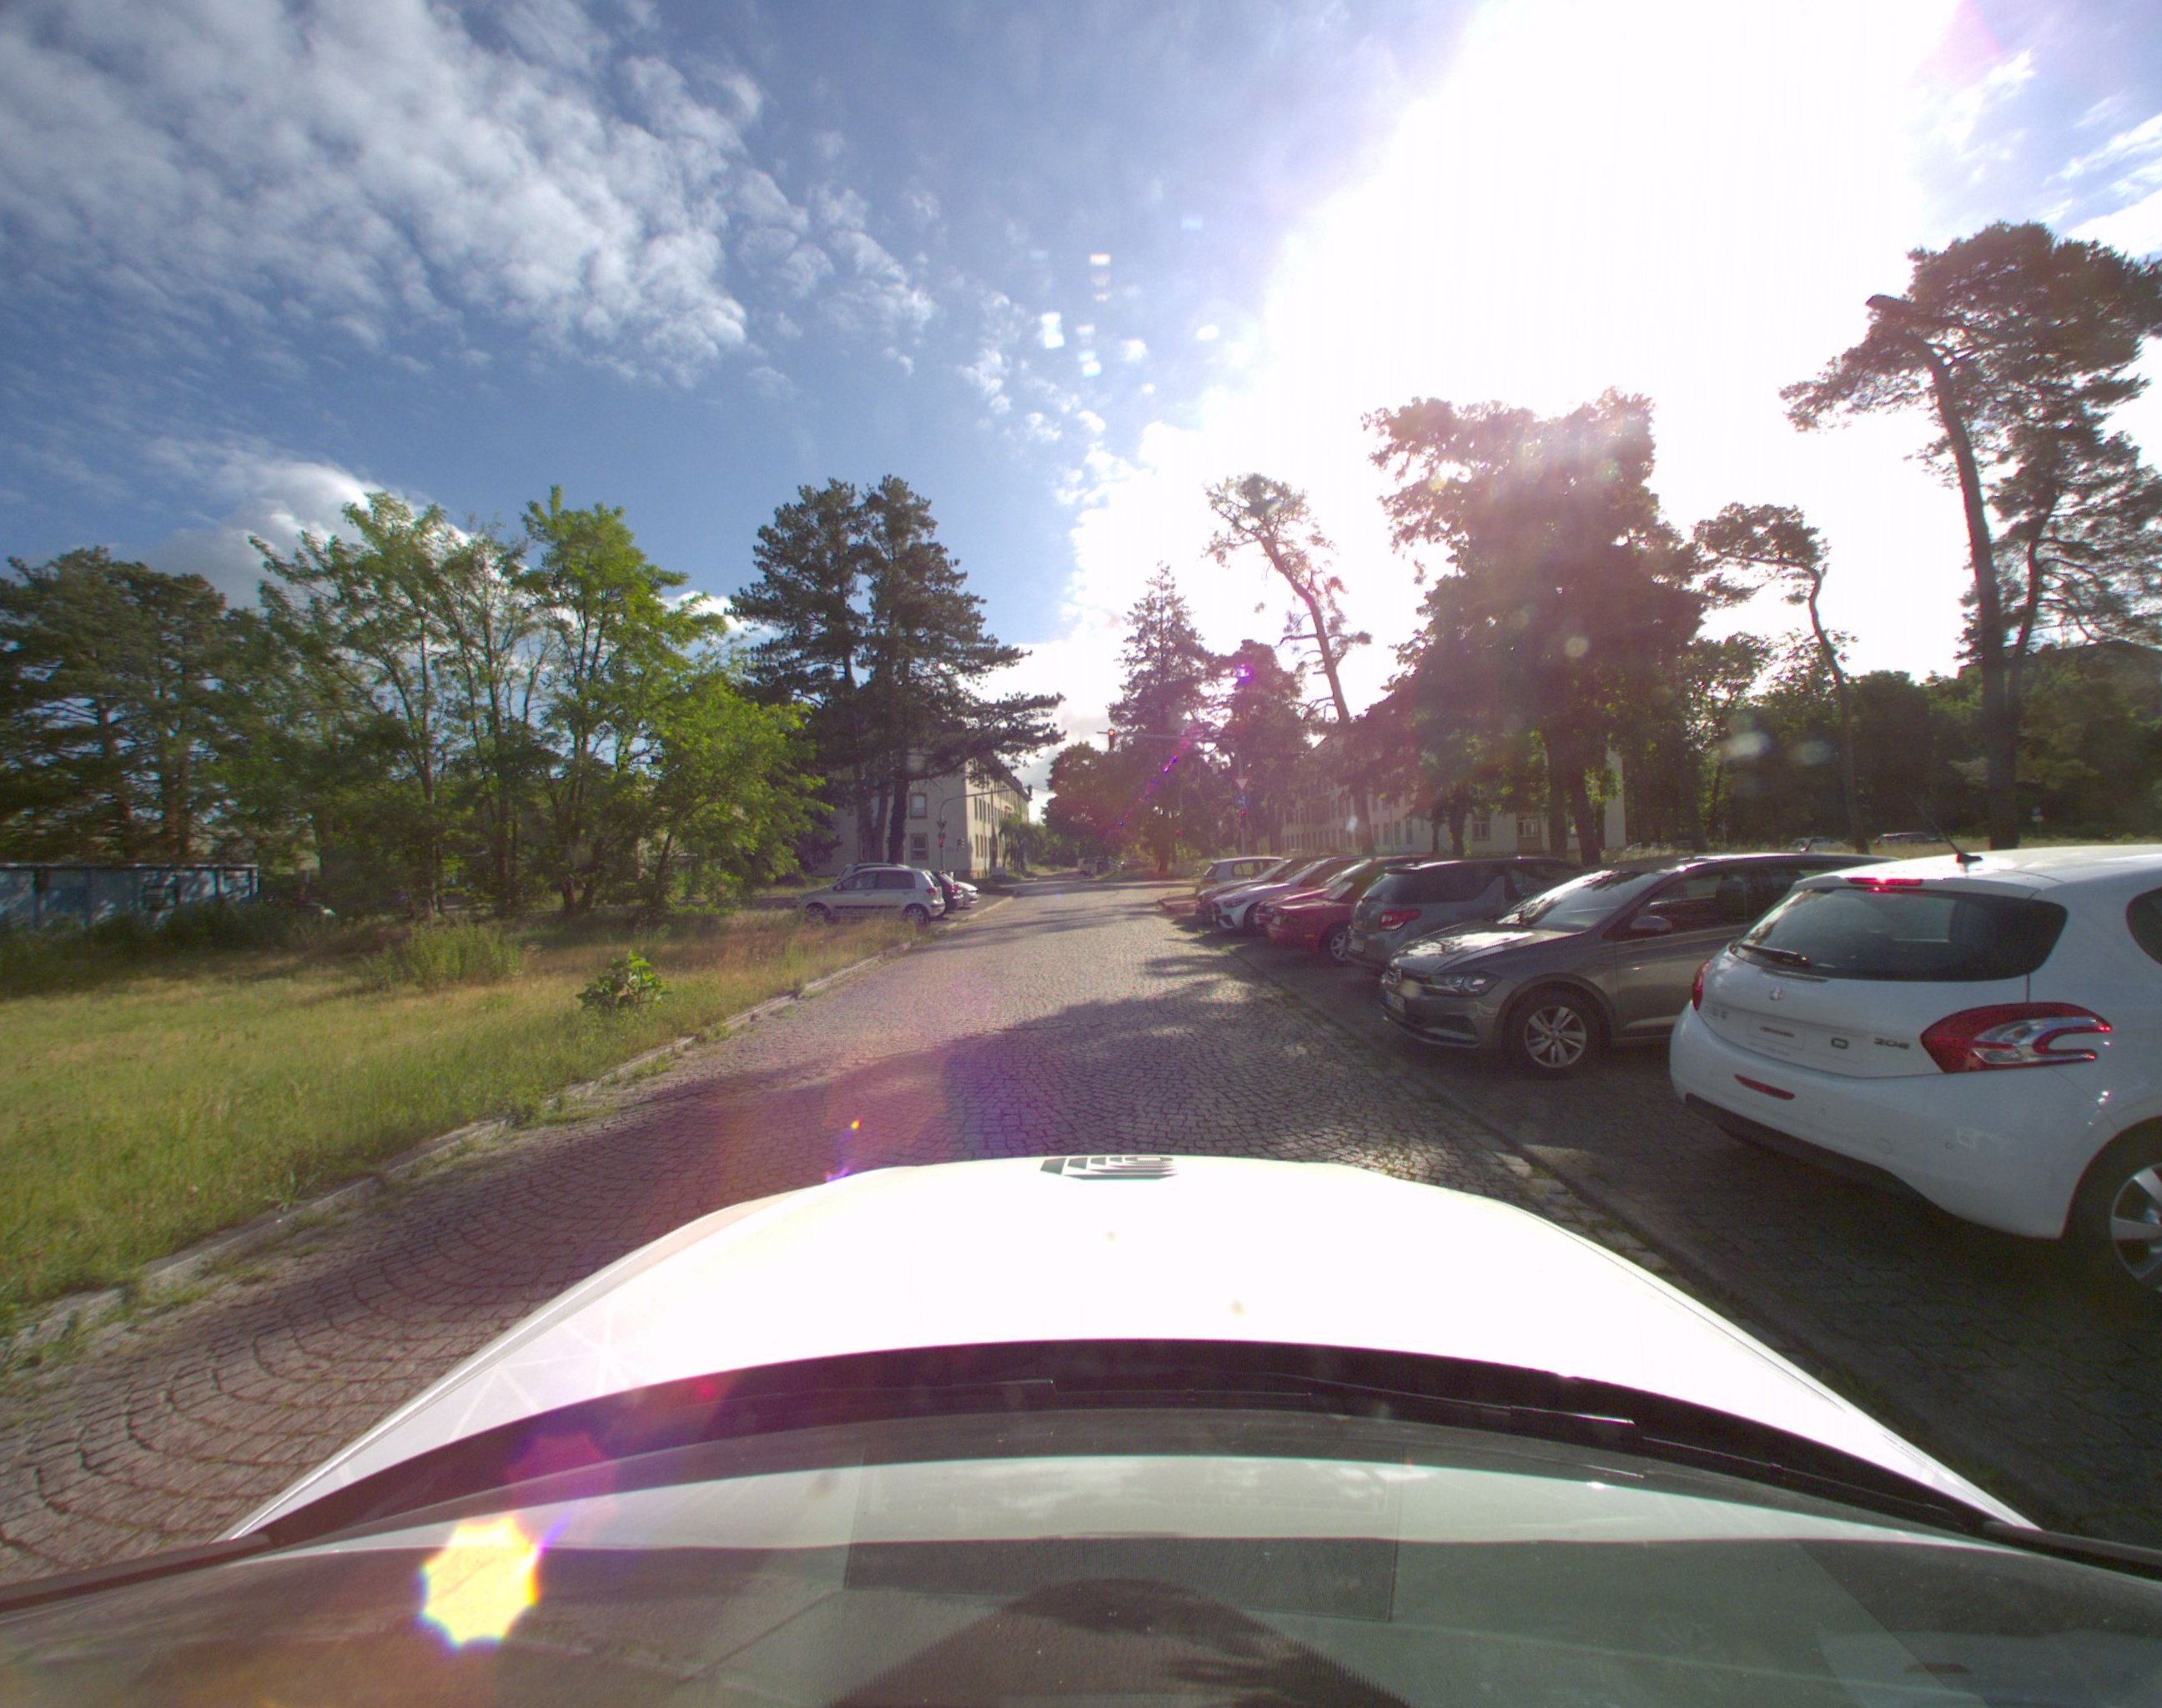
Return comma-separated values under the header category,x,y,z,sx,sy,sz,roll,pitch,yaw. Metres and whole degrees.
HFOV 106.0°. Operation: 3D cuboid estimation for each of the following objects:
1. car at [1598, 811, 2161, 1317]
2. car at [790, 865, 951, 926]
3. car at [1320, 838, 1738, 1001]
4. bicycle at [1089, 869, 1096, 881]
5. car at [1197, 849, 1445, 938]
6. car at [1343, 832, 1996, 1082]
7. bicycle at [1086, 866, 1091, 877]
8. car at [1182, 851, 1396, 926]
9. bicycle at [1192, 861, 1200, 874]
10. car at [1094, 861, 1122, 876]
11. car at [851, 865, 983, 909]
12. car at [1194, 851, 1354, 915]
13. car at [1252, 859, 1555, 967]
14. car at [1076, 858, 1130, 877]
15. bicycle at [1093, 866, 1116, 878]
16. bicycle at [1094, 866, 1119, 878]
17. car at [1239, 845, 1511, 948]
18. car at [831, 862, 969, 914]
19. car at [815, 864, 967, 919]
category,x,y,z,sx,sy,sz,roll,pitch,yaw
car,4.642,0.606,3.472,3.694,1.534,1.761,-3,0,1
car,-5.341,1.042,20.996,3.737,1.487,1.644,0,0,-3
car,4.860,0.672,9.261,3.695,1.449,1.816,-3,0,0
bicycle,0.926,1.721,66.982,0.466,1.010,1.584,0,-1,-3
car,4.683,0.755,16.346,4.416,1.415,1.781,-3,0,1
car,4.207,0.687,6.354,3.694,1.449,1.856,-3,0,1
bicycle,0.722,1.723,80.384,0.416,1.010,1.483,0,-1,2
car,4.758,0.768,19.062,4.543,1.415,1.637,-3,0,1
bicycle,8.275,0.980,58.597,0.300,0.961,1.584,0,-1,-3
car,2.792,1.514,85.197,2.776,1.467,1.669,0,-1,-4
car,-5.712,1.157,28.799,4.323,1.468,1.829,0,0,-3
car,5.100,0.752,21.839,3.868,1.415,1.637,-3,0,1
car,4.530,0.804,11.863,3.694,1.223,1.747,-3,0,1
car,2.409,1.491,88.825,5.535,2.014,1.988,1,-1,-18
bicycle,2.099,1.605,72.436,2.002,1.010,0.630,0,-1,-7
bicycle,2.233,1.572,70.764,2.107,1.010,0.619,0,-1,-7
car,4.997,0.699,14.241,4.113,1.449,1.637,-3,0,1
car,-5.795,1.070,26.471,4.070,1.593,1.884,0,0,-3
car,-5.413,1.056,23.571,3.977,1.480,1.801,0,0,-3
